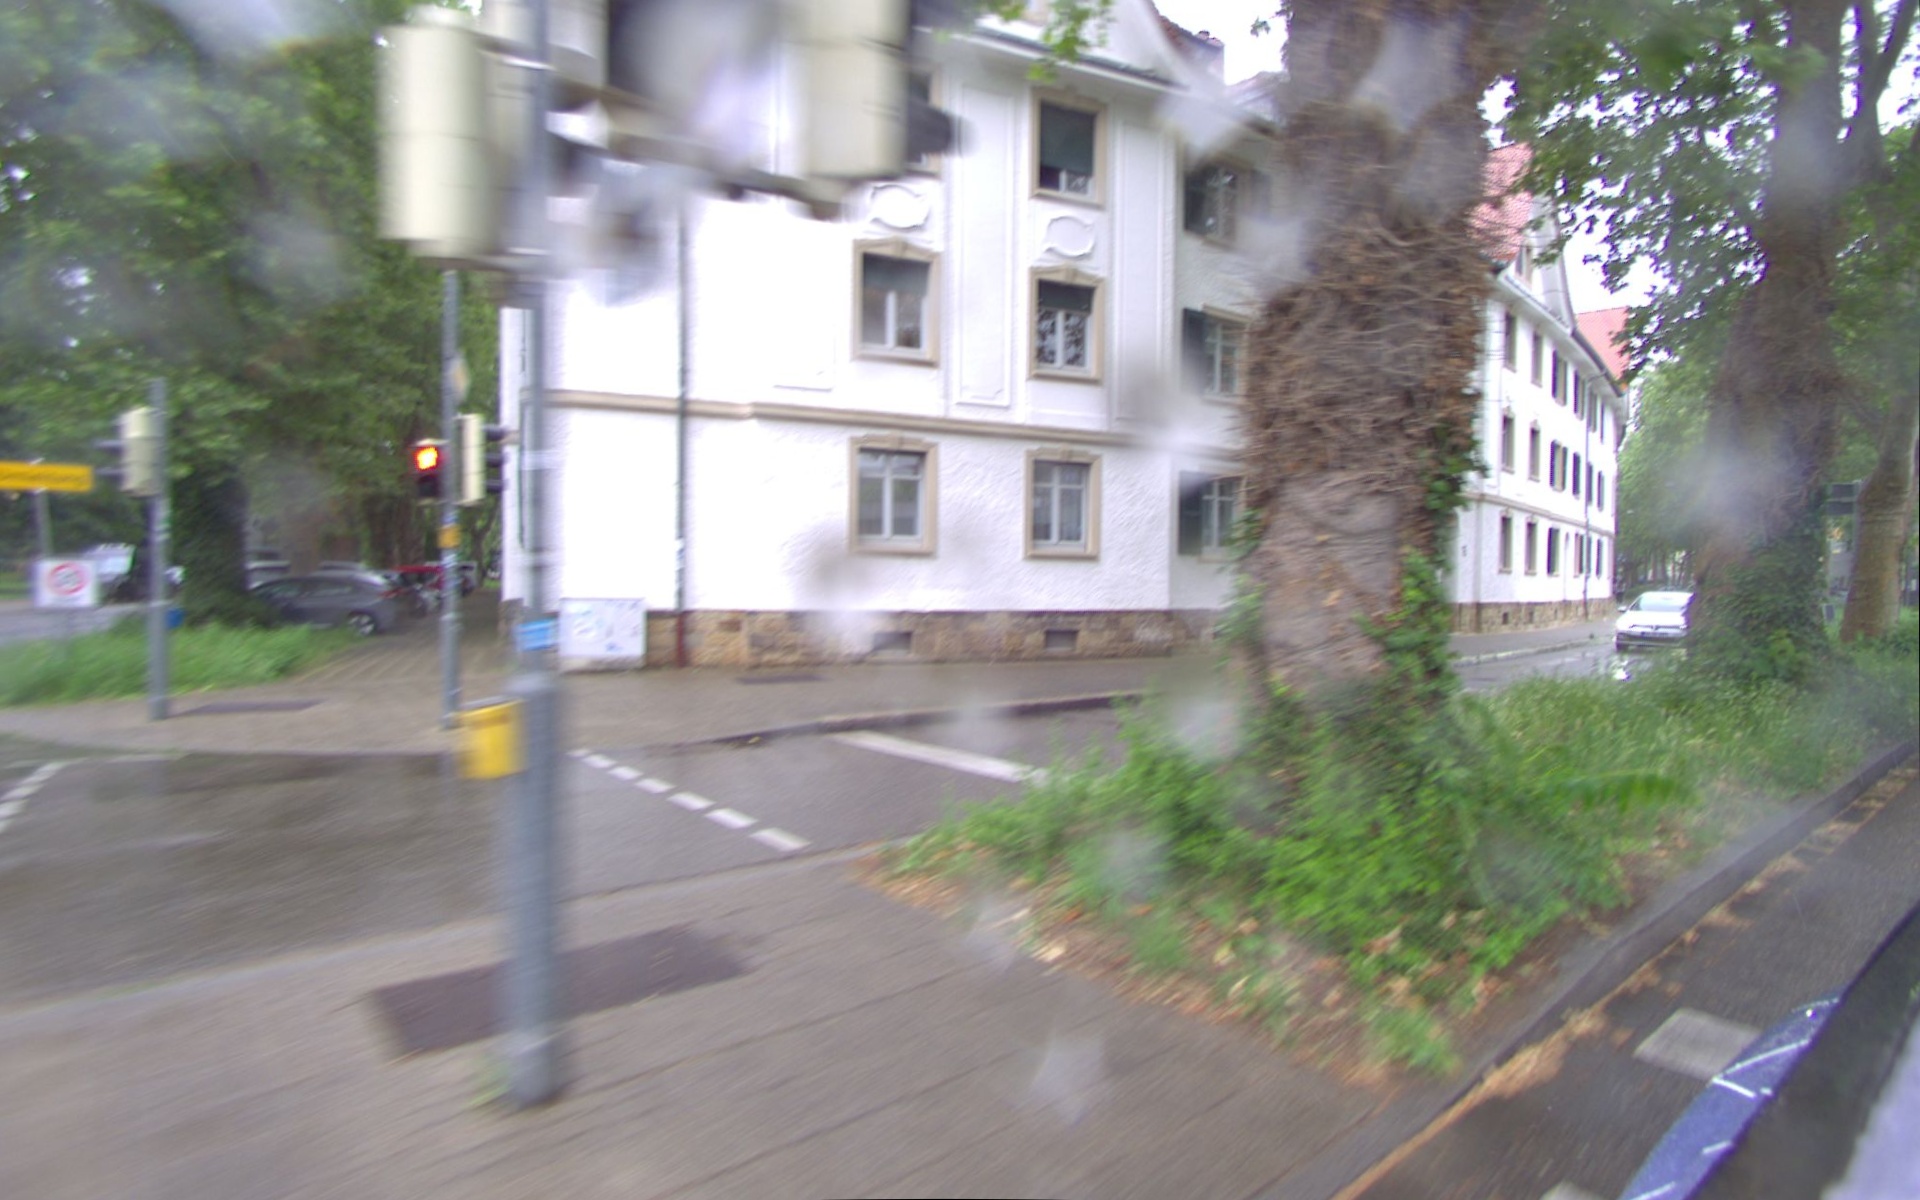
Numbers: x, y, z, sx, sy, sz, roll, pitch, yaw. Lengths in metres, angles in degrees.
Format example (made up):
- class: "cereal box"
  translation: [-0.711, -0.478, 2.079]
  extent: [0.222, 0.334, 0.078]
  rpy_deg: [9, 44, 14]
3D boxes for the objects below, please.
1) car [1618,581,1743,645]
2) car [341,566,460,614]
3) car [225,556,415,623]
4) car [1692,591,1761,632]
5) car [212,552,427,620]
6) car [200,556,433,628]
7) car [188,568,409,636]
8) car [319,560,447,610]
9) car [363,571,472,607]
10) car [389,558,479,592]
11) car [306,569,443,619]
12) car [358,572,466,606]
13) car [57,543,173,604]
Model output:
- class: "car"
  translation: [17.947, 0.292, 25.139]
  extent: [4.327, 1.451, 1.778]
  rpy_deg: [-1, 0, -44]
- class: "car"
  translation: [-21.644, -0.391, 39.274]
  extent: [3.918, 1.756, 2.003]
  rpy_deg: [1, 1, -28]
- class: "car"
  translation: [-19.159, -0.298, 30.566]
  extent: [4.574, 1.897, 2.038]
  rpy_deg: [1, 1, -23]
- class: "car"
  translation: [28.583, 0.405, 37.691]
  extent: [1.919, 1.439, 3.613]
  rpy_deg: [-2, -1, 39]
- class: "car"
  translation: [-17.041, -0.355, 27.232]
  extent: [4.574, 1.711, 2.038]
  rpy_deg: [1, 1, -23]
- class: "car"
  translation: [-15.683, -0.178, 24.999]
  extent: [4.643, 1.643, 1.934]
  rpy_deg: [1, 1, -26]
- class: "car"
  translation: [-14.539, 0.002, 22.537]
  extent: [3.919, 1.371, 1.800]
  rpy_deg: [-1, 2, -27]
- class: "car"
  translation: [-23.342, -0.590, 41.172]
  extent: [4.351, 1.923, 2.037]
  rpy_deg: [1, 1, -25]
- class: "car"
  translation: [-25.227, -0.514, 47.254]
  extent: [4.319, 1.605, 1.931]
  rpy_deg: [1, 1, -23]
- class: "car"
  translation: [-33.873, -1.602, 65.330]
  extent: [4.984, 2.049, 2.037]
  rpy_deg: [1, 1, -23]
- class: "car"
  translation: [-20.511, -0.208, 35.652]
  extent: [3.943, 1.653, 1.941]
  rpy_deg: [1, 1, -23]
- class: "car"
  translation: [-26.628, -0.542, 49.343]
  extent: [4.435, 1.590, 2.038]
  rpy_deg: [1, 1, -23]
- class: "car"
  translation: [-37.726, -1.162, 45.384]
  extent: [2.352, 2.506, 5.704]
  rpy_deg: [1, 1, -23]
